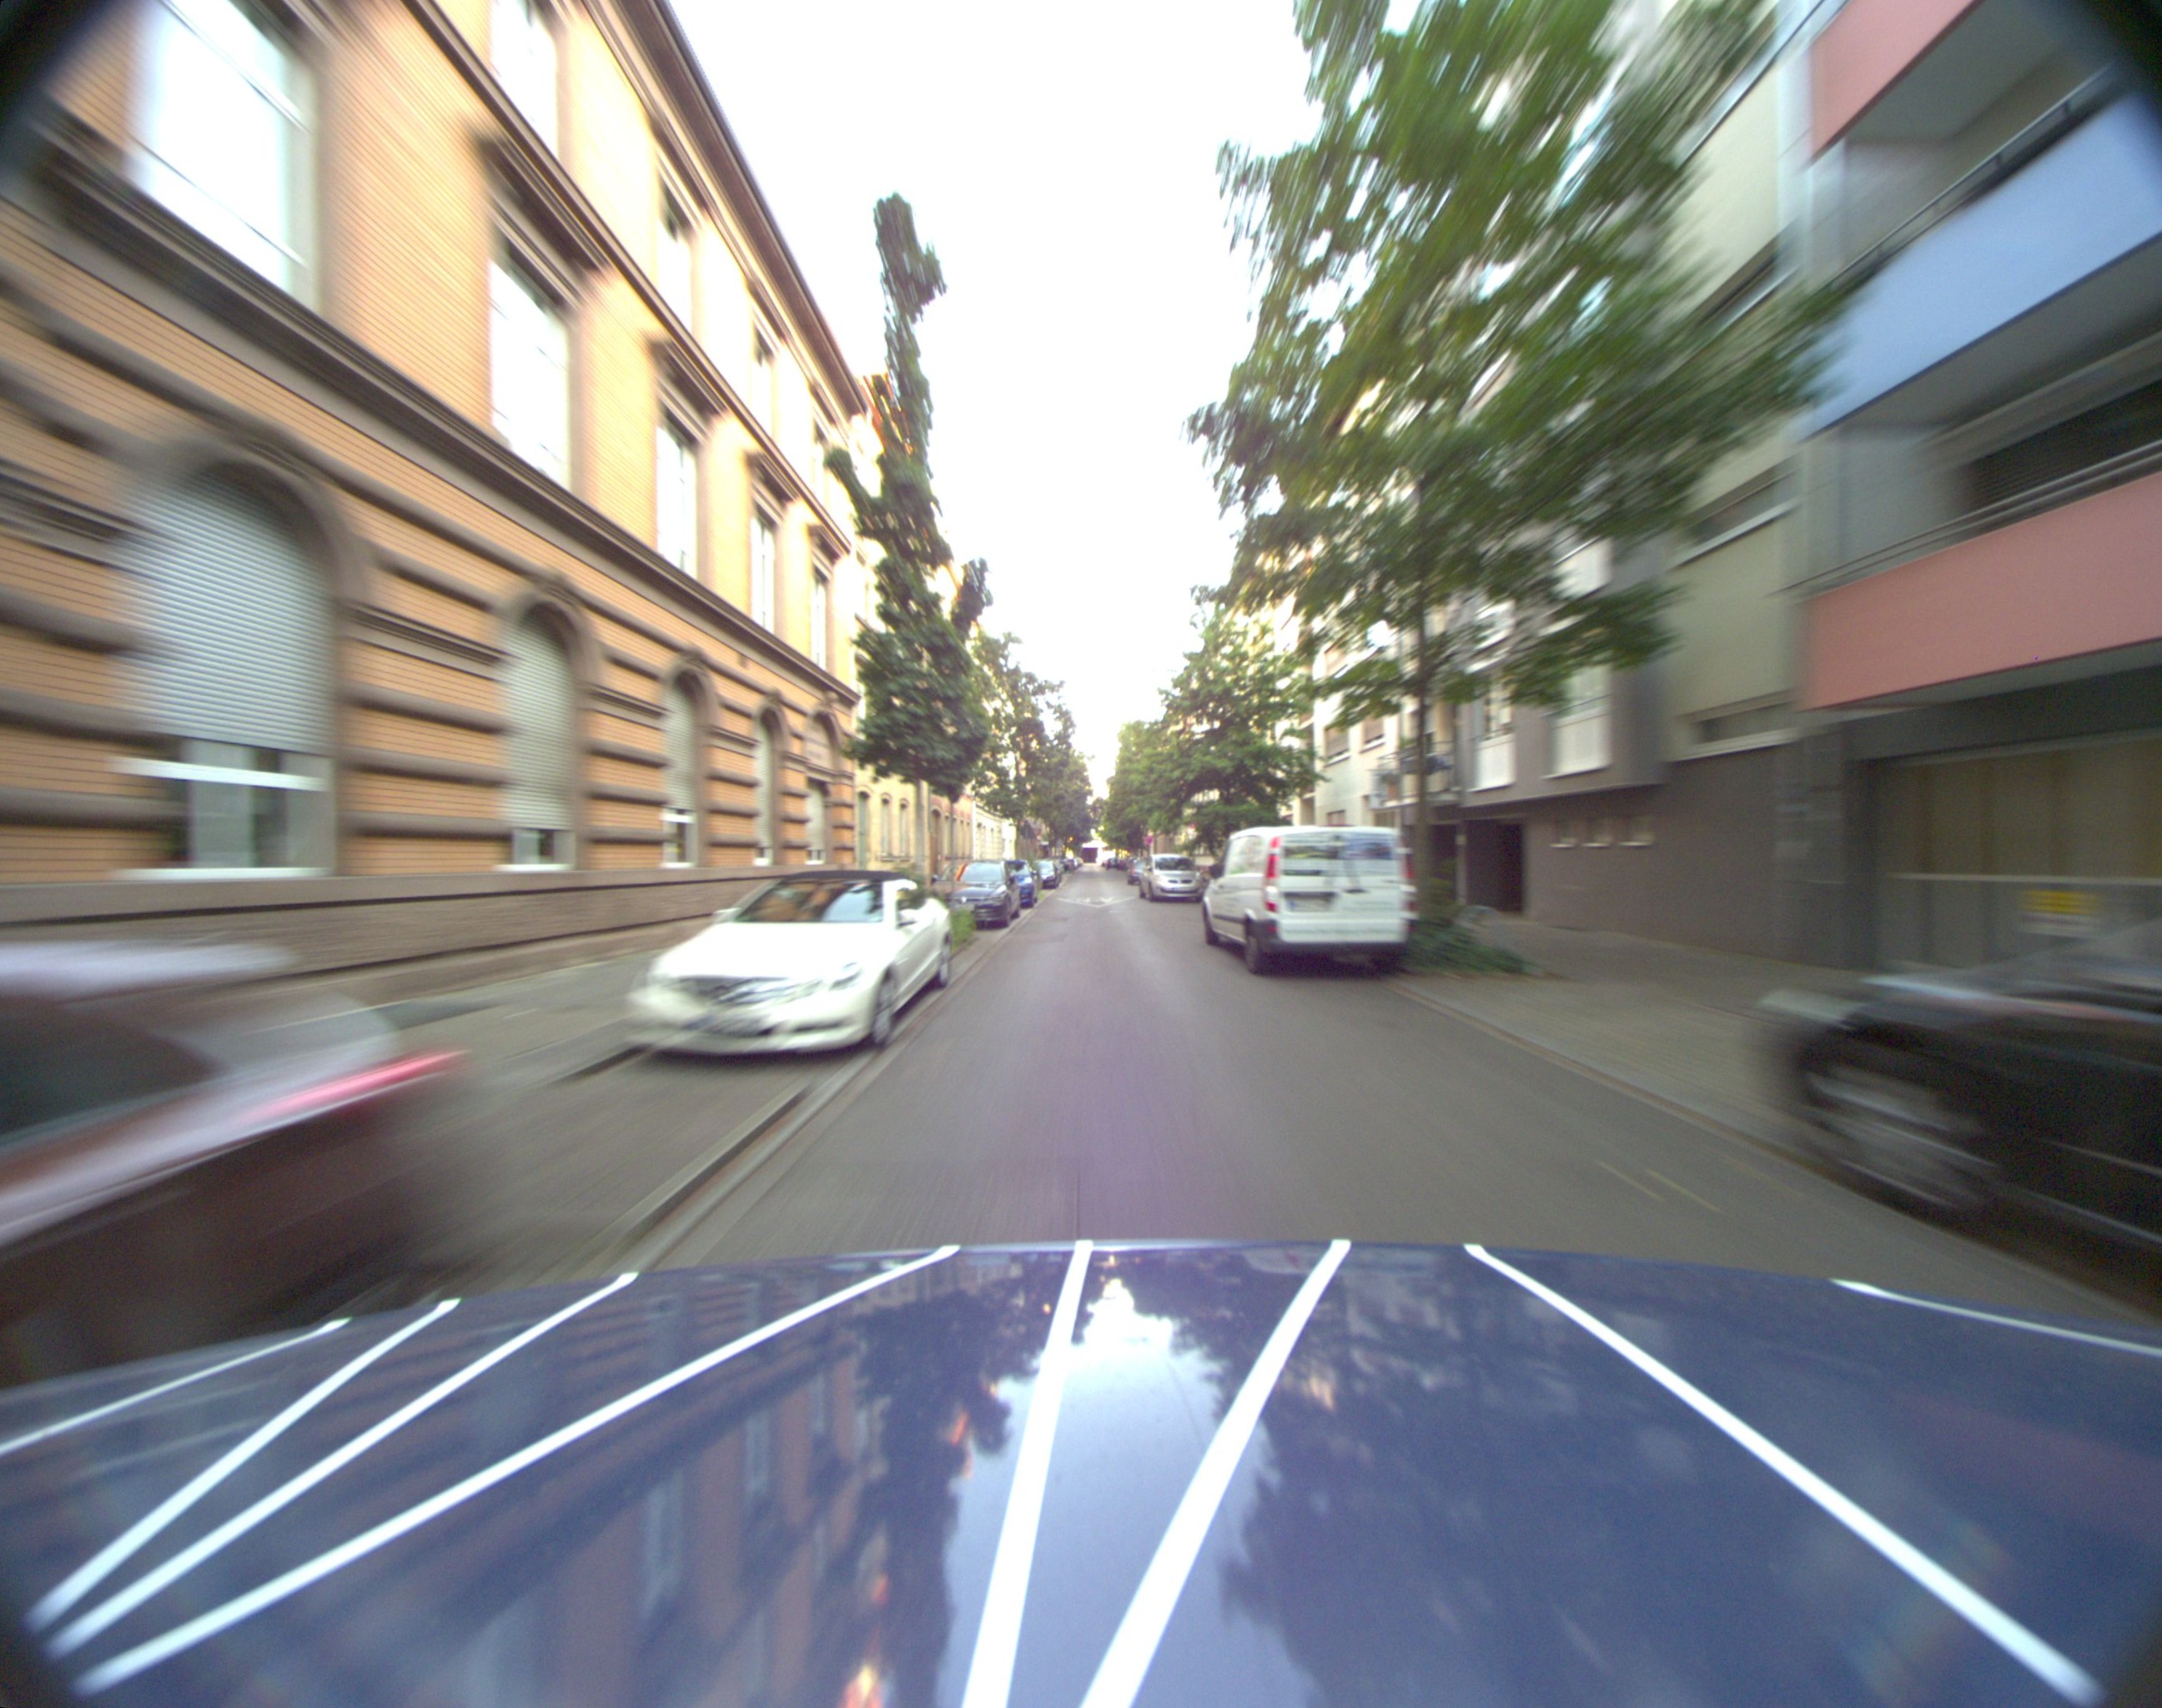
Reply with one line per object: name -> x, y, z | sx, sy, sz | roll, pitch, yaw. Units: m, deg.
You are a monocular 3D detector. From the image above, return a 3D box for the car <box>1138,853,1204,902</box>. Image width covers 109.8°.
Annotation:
car -> 3.053, 0.760, 26.422 | 1.668, 1.554, 3.999 | 0, 0, -2

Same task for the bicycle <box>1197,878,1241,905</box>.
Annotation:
bicycle -> 5.080, 1.368, 27.925 | 1.707, 0.902, 0.383 | -1, 0, -29

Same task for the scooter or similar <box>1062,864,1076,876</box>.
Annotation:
scooter or similar -> -1.132, 1.535, 72.955 | 0.673, 1.183, 1.118 | 3, 1, 41

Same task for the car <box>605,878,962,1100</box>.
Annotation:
car -> -2.421, 1.011, 7.581 | 1.698, 1.393, 4.646 | 1, 0, 0

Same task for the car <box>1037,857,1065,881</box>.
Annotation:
car -> -1.961, 0.957, 50.574 | 1.721, 1.467, 4.368 | 1, 0, -1

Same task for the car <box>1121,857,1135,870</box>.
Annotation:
car -> 5.614, 1.120, 90.882 | 1.523, 1.493, 3.561 | -2, 0, 1

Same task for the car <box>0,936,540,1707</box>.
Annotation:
car -> -2.582, 0.996, 0.271 | 1.726, 1.441, 4.214 | 1, 0, 1

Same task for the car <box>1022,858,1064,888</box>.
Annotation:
car -> -1.907, 0.935, 39.029 | 1.771, 1.406, 4.474 | 2, 0, 1

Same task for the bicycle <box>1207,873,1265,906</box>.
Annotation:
bicycle -> 4.942, 1.117, 24.348 | 1.726, 0.989, 0.578 | 0, 0, 34

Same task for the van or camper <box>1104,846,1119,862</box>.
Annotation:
van or camper -> 4.706, 0.006, 119.588 | 2.225, 2.416, 5.661 | 0, 0, 1

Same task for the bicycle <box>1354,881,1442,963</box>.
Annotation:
bicycle -> 5.080, 1.036, 12.133 | 0.697, 1.157, 1.827 | 0, 0, 43

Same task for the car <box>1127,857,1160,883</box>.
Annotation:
car -> 3.534, 0.882, 43.372 | 1.584, 1.411, 3.753 | 0, 0, 1

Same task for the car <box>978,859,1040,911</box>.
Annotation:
car -> -2.174, 0.904, 23.947 | 1.632, 1.458, 4.245 | 0, 0, -1

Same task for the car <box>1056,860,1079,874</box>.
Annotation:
car -> -1.660, 1.561, 95.035 | 2.804, 1.590, 1.801 | 3, 0, 1

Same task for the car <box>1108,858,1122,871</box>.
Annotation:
car -> 4.380, 1.340, 99.016 | 1.728, 1.564, 4.220 | 0, 0, 1

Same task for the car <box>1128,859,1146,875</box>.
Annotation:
car -> 5.762, 1.352, 78.128 | 1.680, 1.598, 3.862 | -1, 0, 3

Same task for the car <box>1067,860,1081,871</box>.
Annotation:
car -> -0.945, 1.547, 104.418 | 1.737, 1.482, 4.104 | 0, 0, 1

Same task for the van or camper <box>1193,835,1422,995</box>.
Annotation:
van or camper -> 2.966, 0.725, 11.159 | 1.881, 1.832, 4.752 | 0, 0, -1

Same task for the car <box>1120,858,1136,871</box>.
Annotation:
car -> 5.797, 1.316, 94.768 | 1.695, 1.493, 3.711 | -2, 0, 0

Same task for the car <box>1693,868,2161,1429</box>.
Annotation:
car -> 4.289, 0.918, 1.627 | 1.998, 1.637, 4.922 | -2, 0, 1

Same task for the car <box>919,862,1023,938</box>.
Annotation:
car -> -2.316, 0.922, 17.029 | 1.716, 1.469, 4.192 | 0, 0, 0

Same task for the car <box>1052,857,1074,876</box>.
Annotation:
car -> -1.789, 1.235, 77.194 | 2.018, 1.822, 4.811 | 2, 0, 1

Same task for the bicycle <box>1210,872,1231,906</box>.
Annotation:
bicycle -> 4.759, 1.171, 25.985 | 0.420, 1.097, 1.665 | -1, 0, 0
